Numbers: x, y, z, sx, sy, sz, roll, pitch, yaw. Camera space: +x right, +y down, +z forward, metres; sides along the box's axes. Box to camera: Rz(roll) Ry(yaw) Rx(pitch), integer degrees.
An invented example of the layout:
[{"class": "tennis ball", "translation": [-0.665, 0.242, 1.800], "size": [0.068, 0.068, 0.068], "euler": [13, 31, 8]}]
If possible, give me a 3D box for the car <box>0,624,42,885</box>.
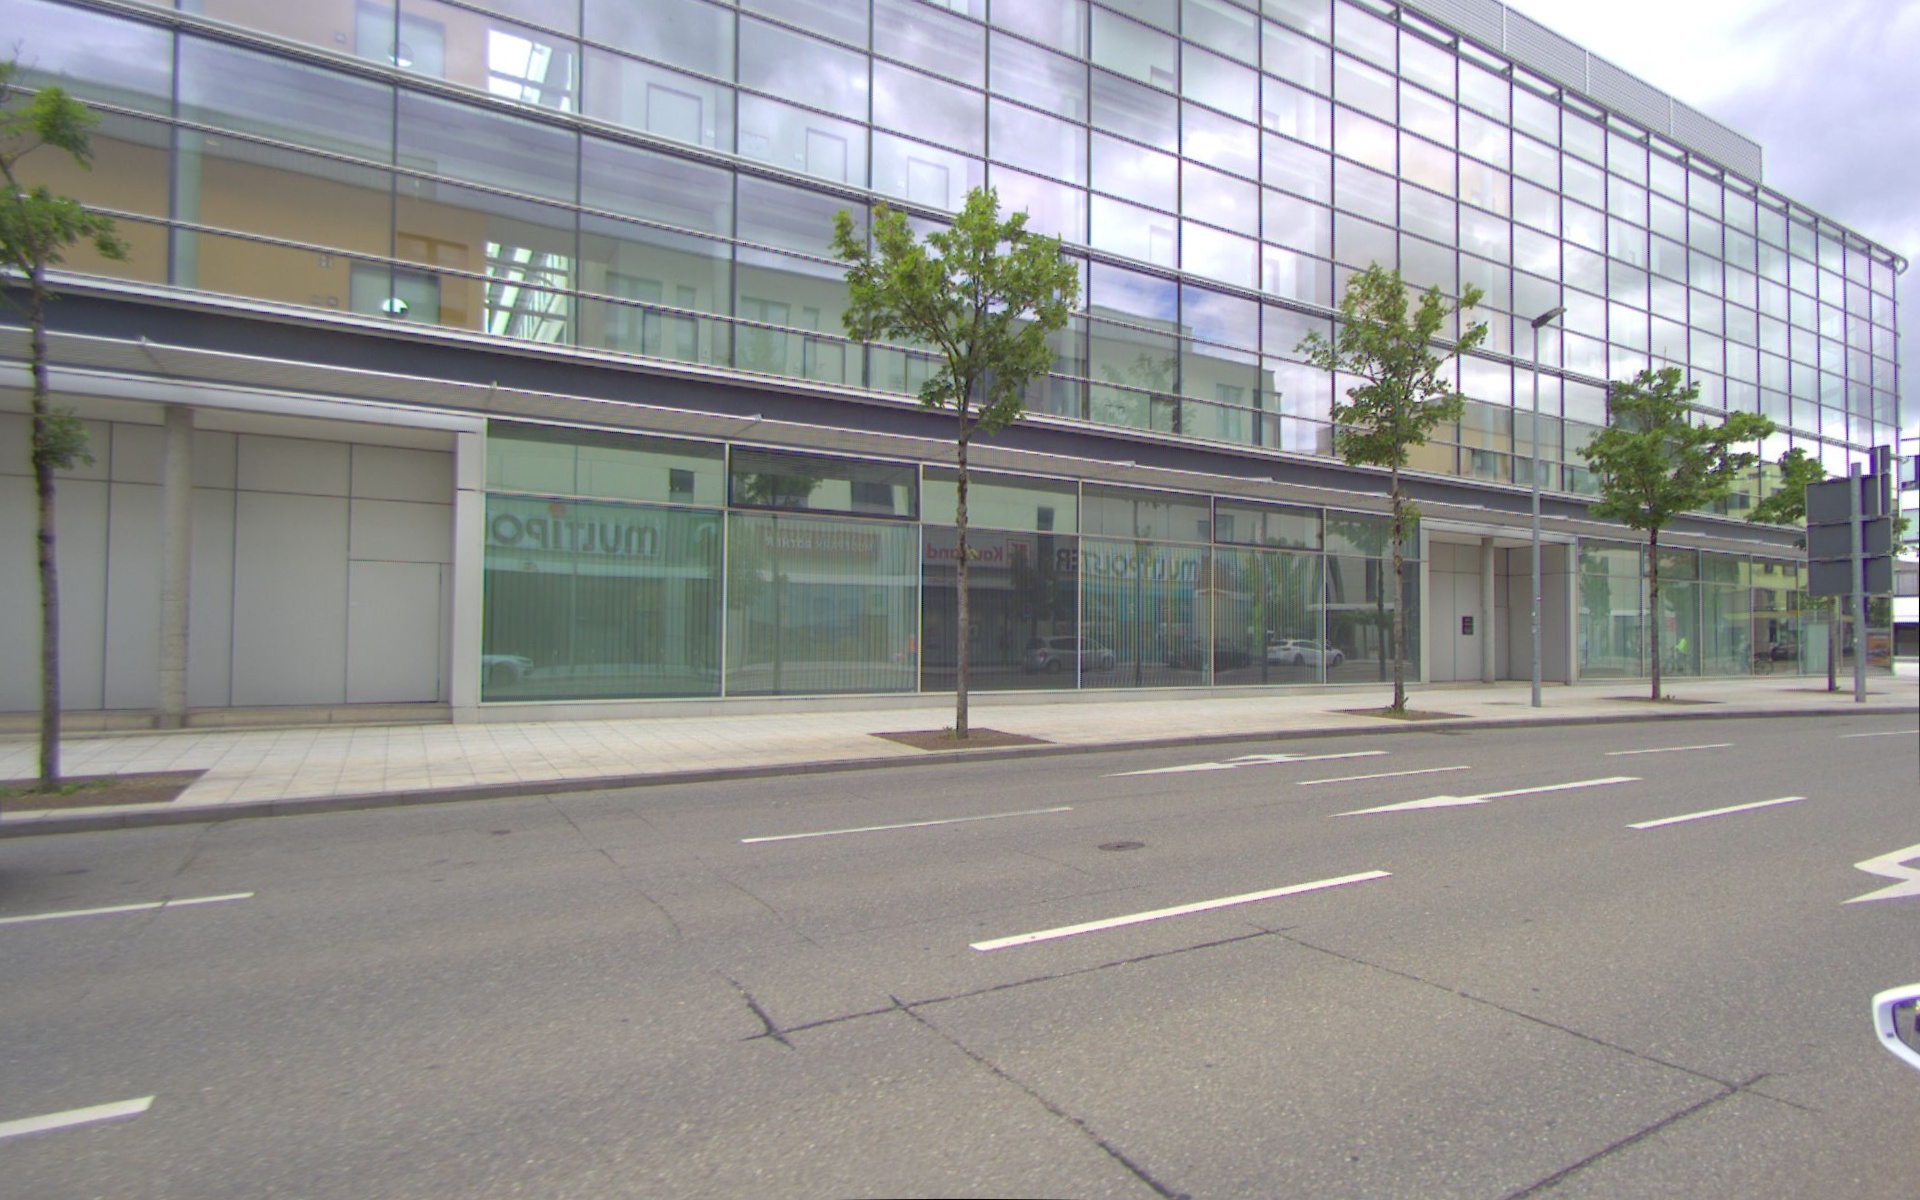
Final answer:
[{"class": "car", "translation": [-7.355, 0.855, 4.958], "size": [3.963, 1.499, 1.648], "euler": [2, -3, -37]}]
